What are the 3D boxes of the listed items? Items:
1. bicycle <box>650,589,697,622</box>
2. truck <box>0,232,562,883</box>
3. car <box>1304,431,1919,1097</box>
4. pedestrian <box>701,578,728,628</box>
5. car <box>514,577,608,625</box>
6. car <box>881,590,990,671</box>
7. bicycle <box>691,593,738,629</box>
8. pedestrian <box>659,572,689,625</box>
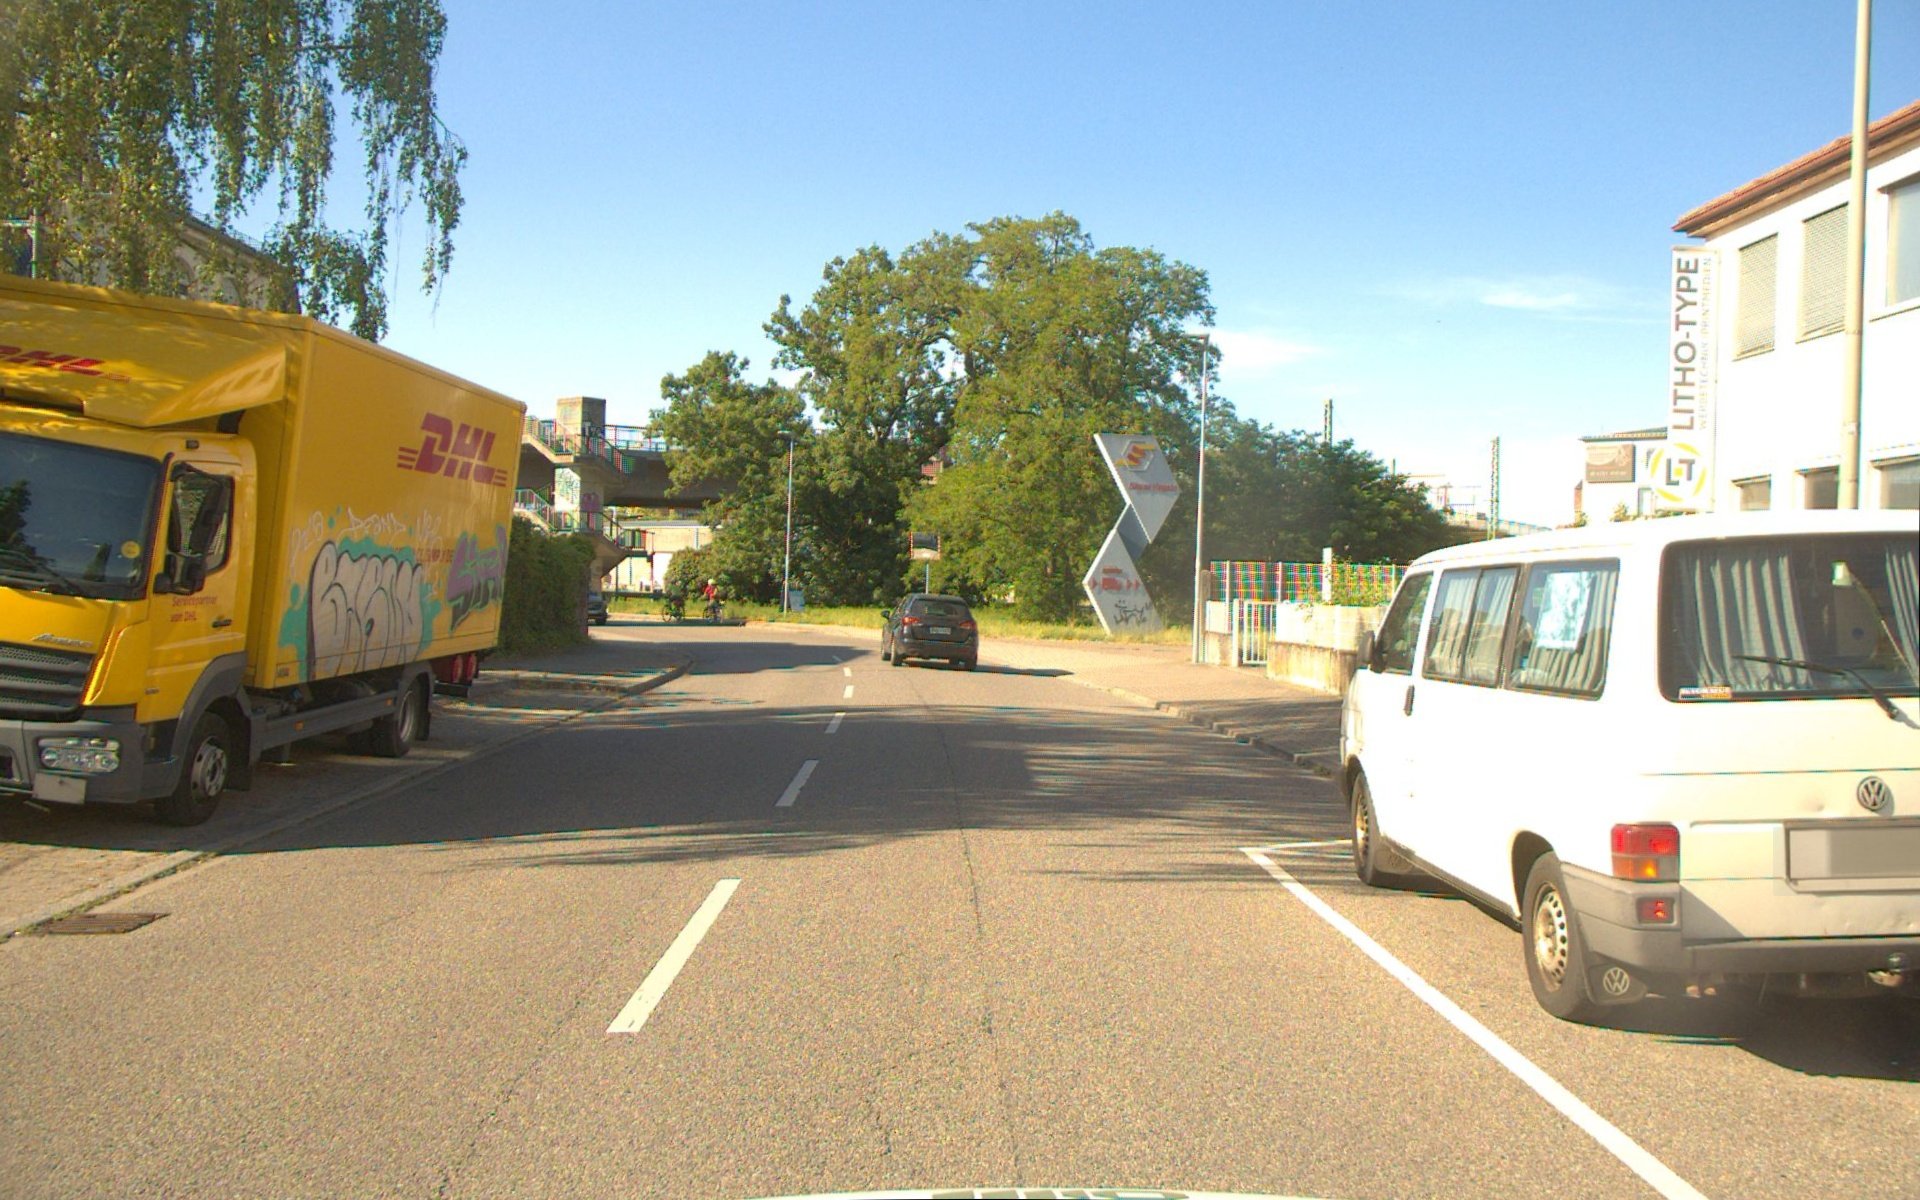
[{"bbox_3d":[-11.422,0.206,65.879,0.798,1.242,2.226,3,-1,-40],"label":"bicycle"},{"bbox_3d":[-5.787,-0.415,13.700,2.580,3.564,8.656,7,1,-1],"label":"truck"},{"bbox_3d":[3.135,0.555,7.772,1.836,2.049,5.159,3,0,-1],"label":"car"},{"bbox_3d":[-9.321,0.120,62.723,0.652,1.867,0.783,3,-1,-38],"label":"pedestrian"},{"bbox_3d":[-14.907,0.027,61.664,1.978,1.716,4.151,1,0,-36],"label":"car"},{"bbox_3d":[-0.577,0.592,34.661,1.812,1.557,3.993,1,0,-8],"label":"car"},{"bbox_3d":[-9.344,0.414,62.821,0.797,1.290,2.230,3,-1,-35],"label":"bicycle"},{"bbox_3d":[-11.372,-0.066,65.826,0.775,2.049,0.855,3,-1,-40],"label":"pedestrian"}]
